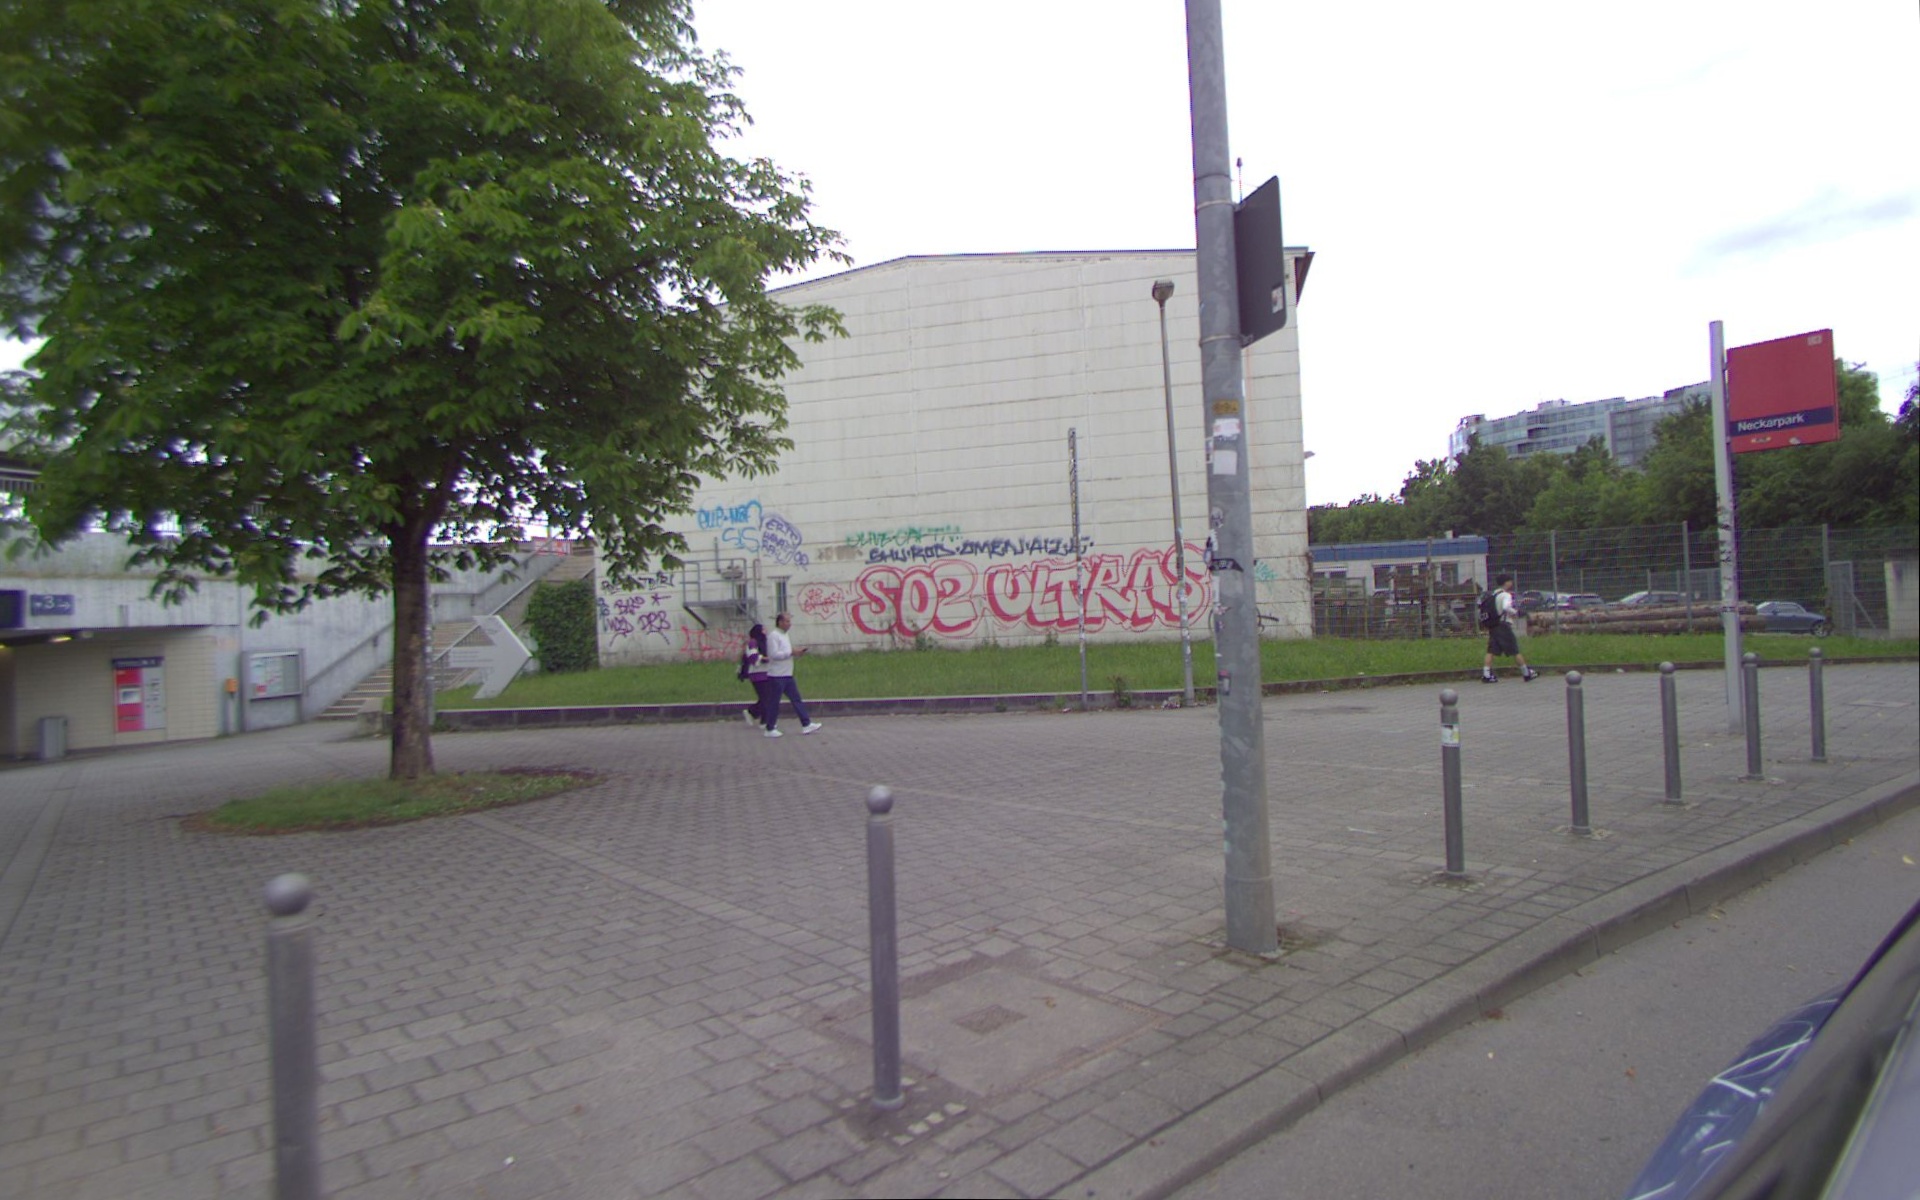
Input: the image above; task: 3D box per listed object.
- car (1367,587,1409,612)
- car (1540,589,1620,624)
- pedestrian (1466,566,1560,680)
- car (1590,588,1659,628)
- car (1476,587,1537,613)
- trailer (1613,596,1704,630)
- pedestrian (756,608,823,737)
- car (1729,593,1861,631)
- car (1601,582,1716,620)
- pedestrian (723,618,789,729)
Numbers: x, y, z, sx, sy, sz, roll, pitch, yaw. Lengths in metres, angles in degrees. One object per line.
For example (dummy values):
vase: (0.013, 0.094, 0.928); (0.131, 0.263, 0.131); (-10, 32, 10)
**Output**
car: (23.738, -0.011, 56.153); (1.315, 1.348, 3.304); (0, 0, 8)
car: (26.242, 0.258, 42.978); (1.781, 1.394, 3.781); (-2, 0, 14)
pedestrian: (8.738, 0.348, 16.030); (0.921, 1.705, 0.851); (-3, 0, -4)
car: (25.692, 0.296, 39.218); (1.351, 1.458, 2.841); (0, 0, 15)
car: (29.310, -0.017, 54.352); (1.503, 1.348, 3.678); (0, 0, 5)
trailer: (25.144, 0.455, 36.539); (1.822, 1.152, 2.628); (-2, -1, 14)
pedestrian: (-2.393, 0.991, 14.286); (0.735, 1.724, 0.817); (-3, -1, 0)
car: (29.970, 0.402, 36.389); (3.316, 1.268, 1.467); (1, 1, 10)
car: (30.380, 0.031, 44.111); (3.750, 1.551, 1.561); (1, 1, 10)
pedestrian: (-3.121, 1.104, 15.574); (0.786, 1.603, 0.802); (-3, 0, 0)
